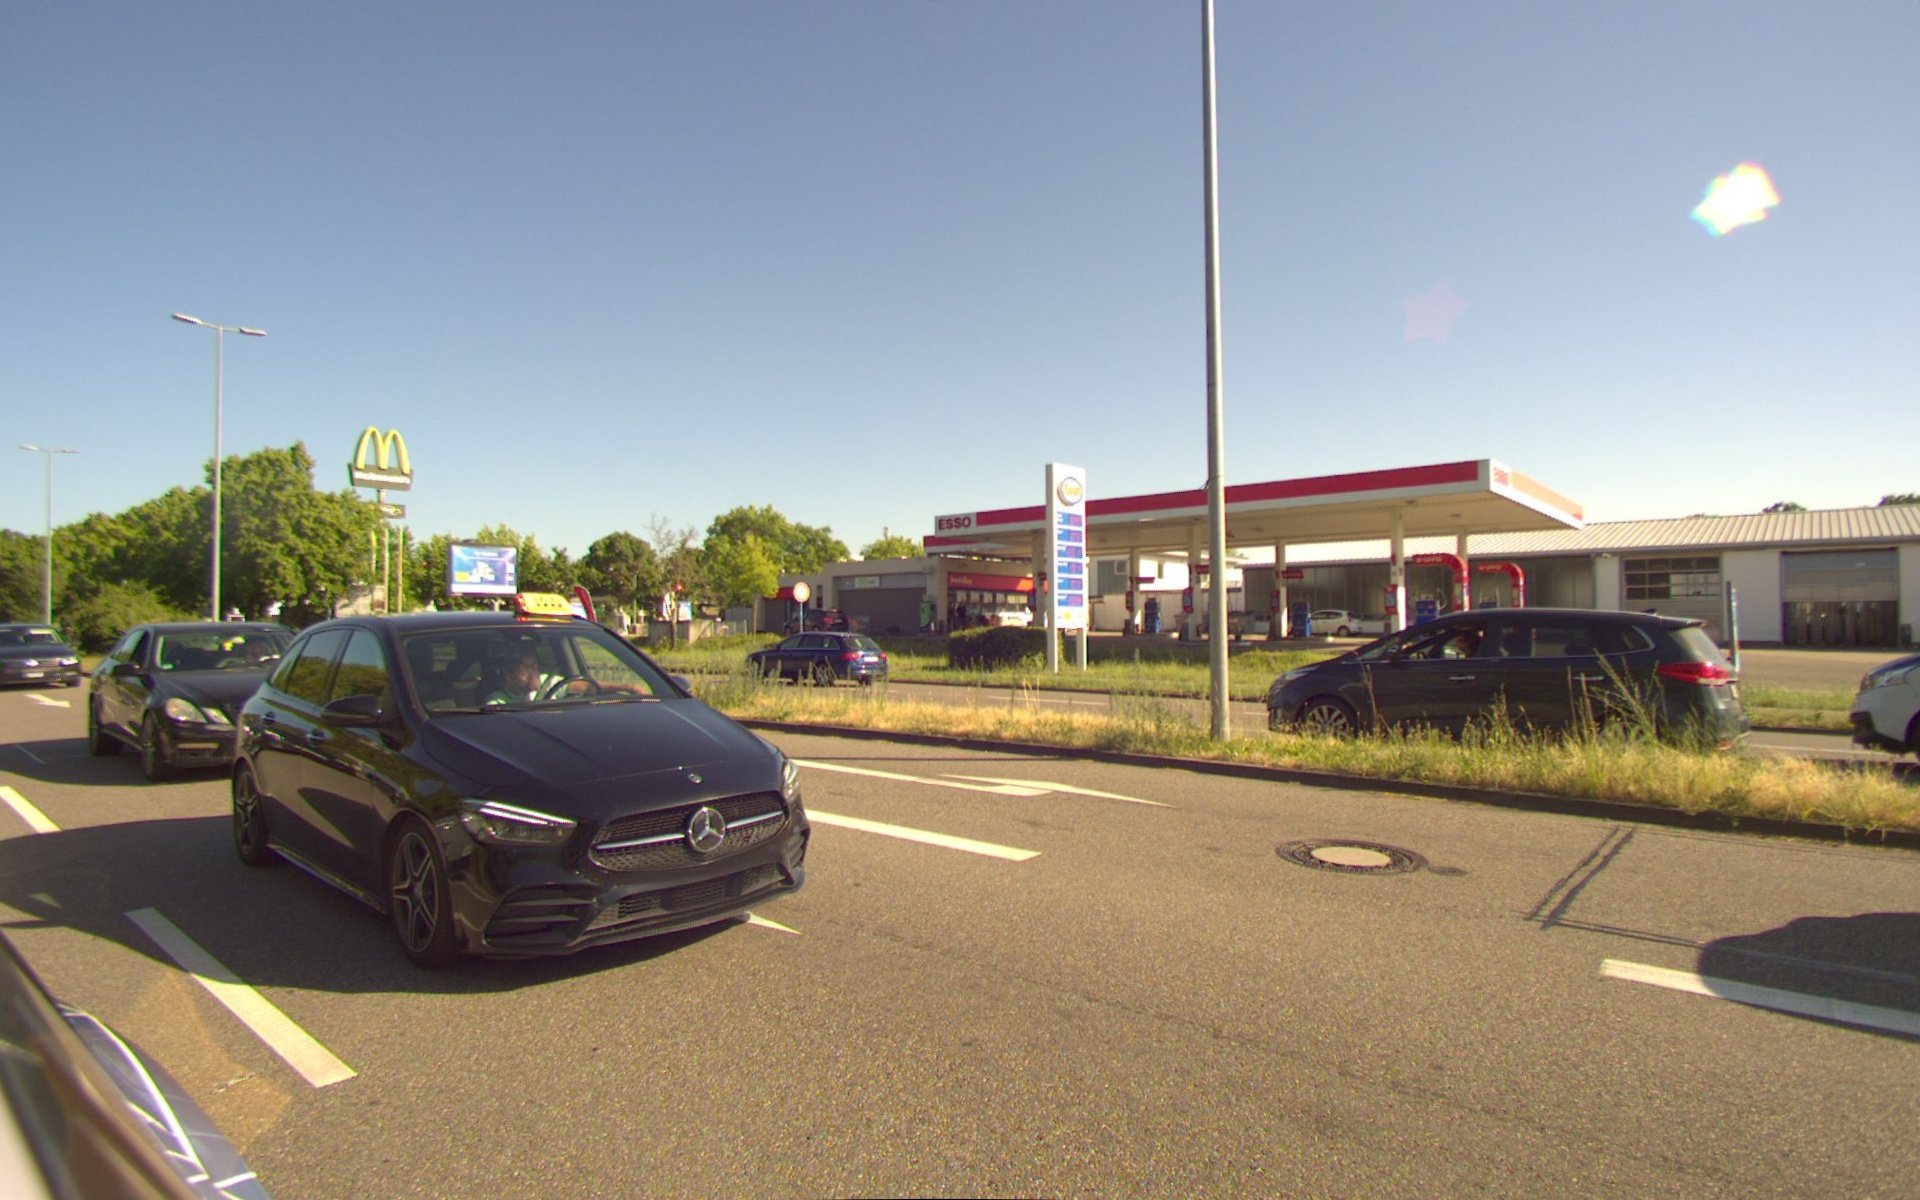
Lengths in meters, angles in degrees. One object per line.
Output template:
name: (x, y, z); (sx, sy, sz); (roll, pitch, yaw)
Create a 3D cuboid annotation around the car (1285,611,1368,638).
car: (19.846, 1.333, 54.869); (3.844, 1.450, 1.730); (-2, -2, 39)

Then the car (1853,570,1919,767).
car: (11.950, 0.704, 9.541); (1.968, 2.029, 5.034); (4, -4, -40)

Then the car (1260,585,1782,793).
car: (5.611, 0.789, 10.468); (4.433, 1.703, 1.860); (-2, -2, 41)

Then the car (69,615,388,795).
car: (-7.938, 0.957, 10.823); (4.401, 1.535, 1.838); (-2, -2, 41)

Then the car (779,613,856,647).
car: (-7.772, 1.622, 54.936); (4.117, 1.783, 1.972); (-2, -2, 43)

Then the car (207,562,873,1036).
car: (-2.564, 0.743, 5.593); (4.187, 1.638, 1.780); (-2, -2, 42)

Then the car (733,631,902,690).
car: (-3.924, 1.614, 27.521); (4.602, 1.457, 1.885); (-1, -4, 39)

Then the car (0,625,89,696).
car: (-21.624, 1.340, 23.258); (4.401, 1.492, 1.838); (-2, -2, 41)

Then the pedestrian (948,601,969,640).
pedestrian: (-0.083, 1.097, 53.782); (0.840, 2.029, 0.694); (-2, -2, 41)
